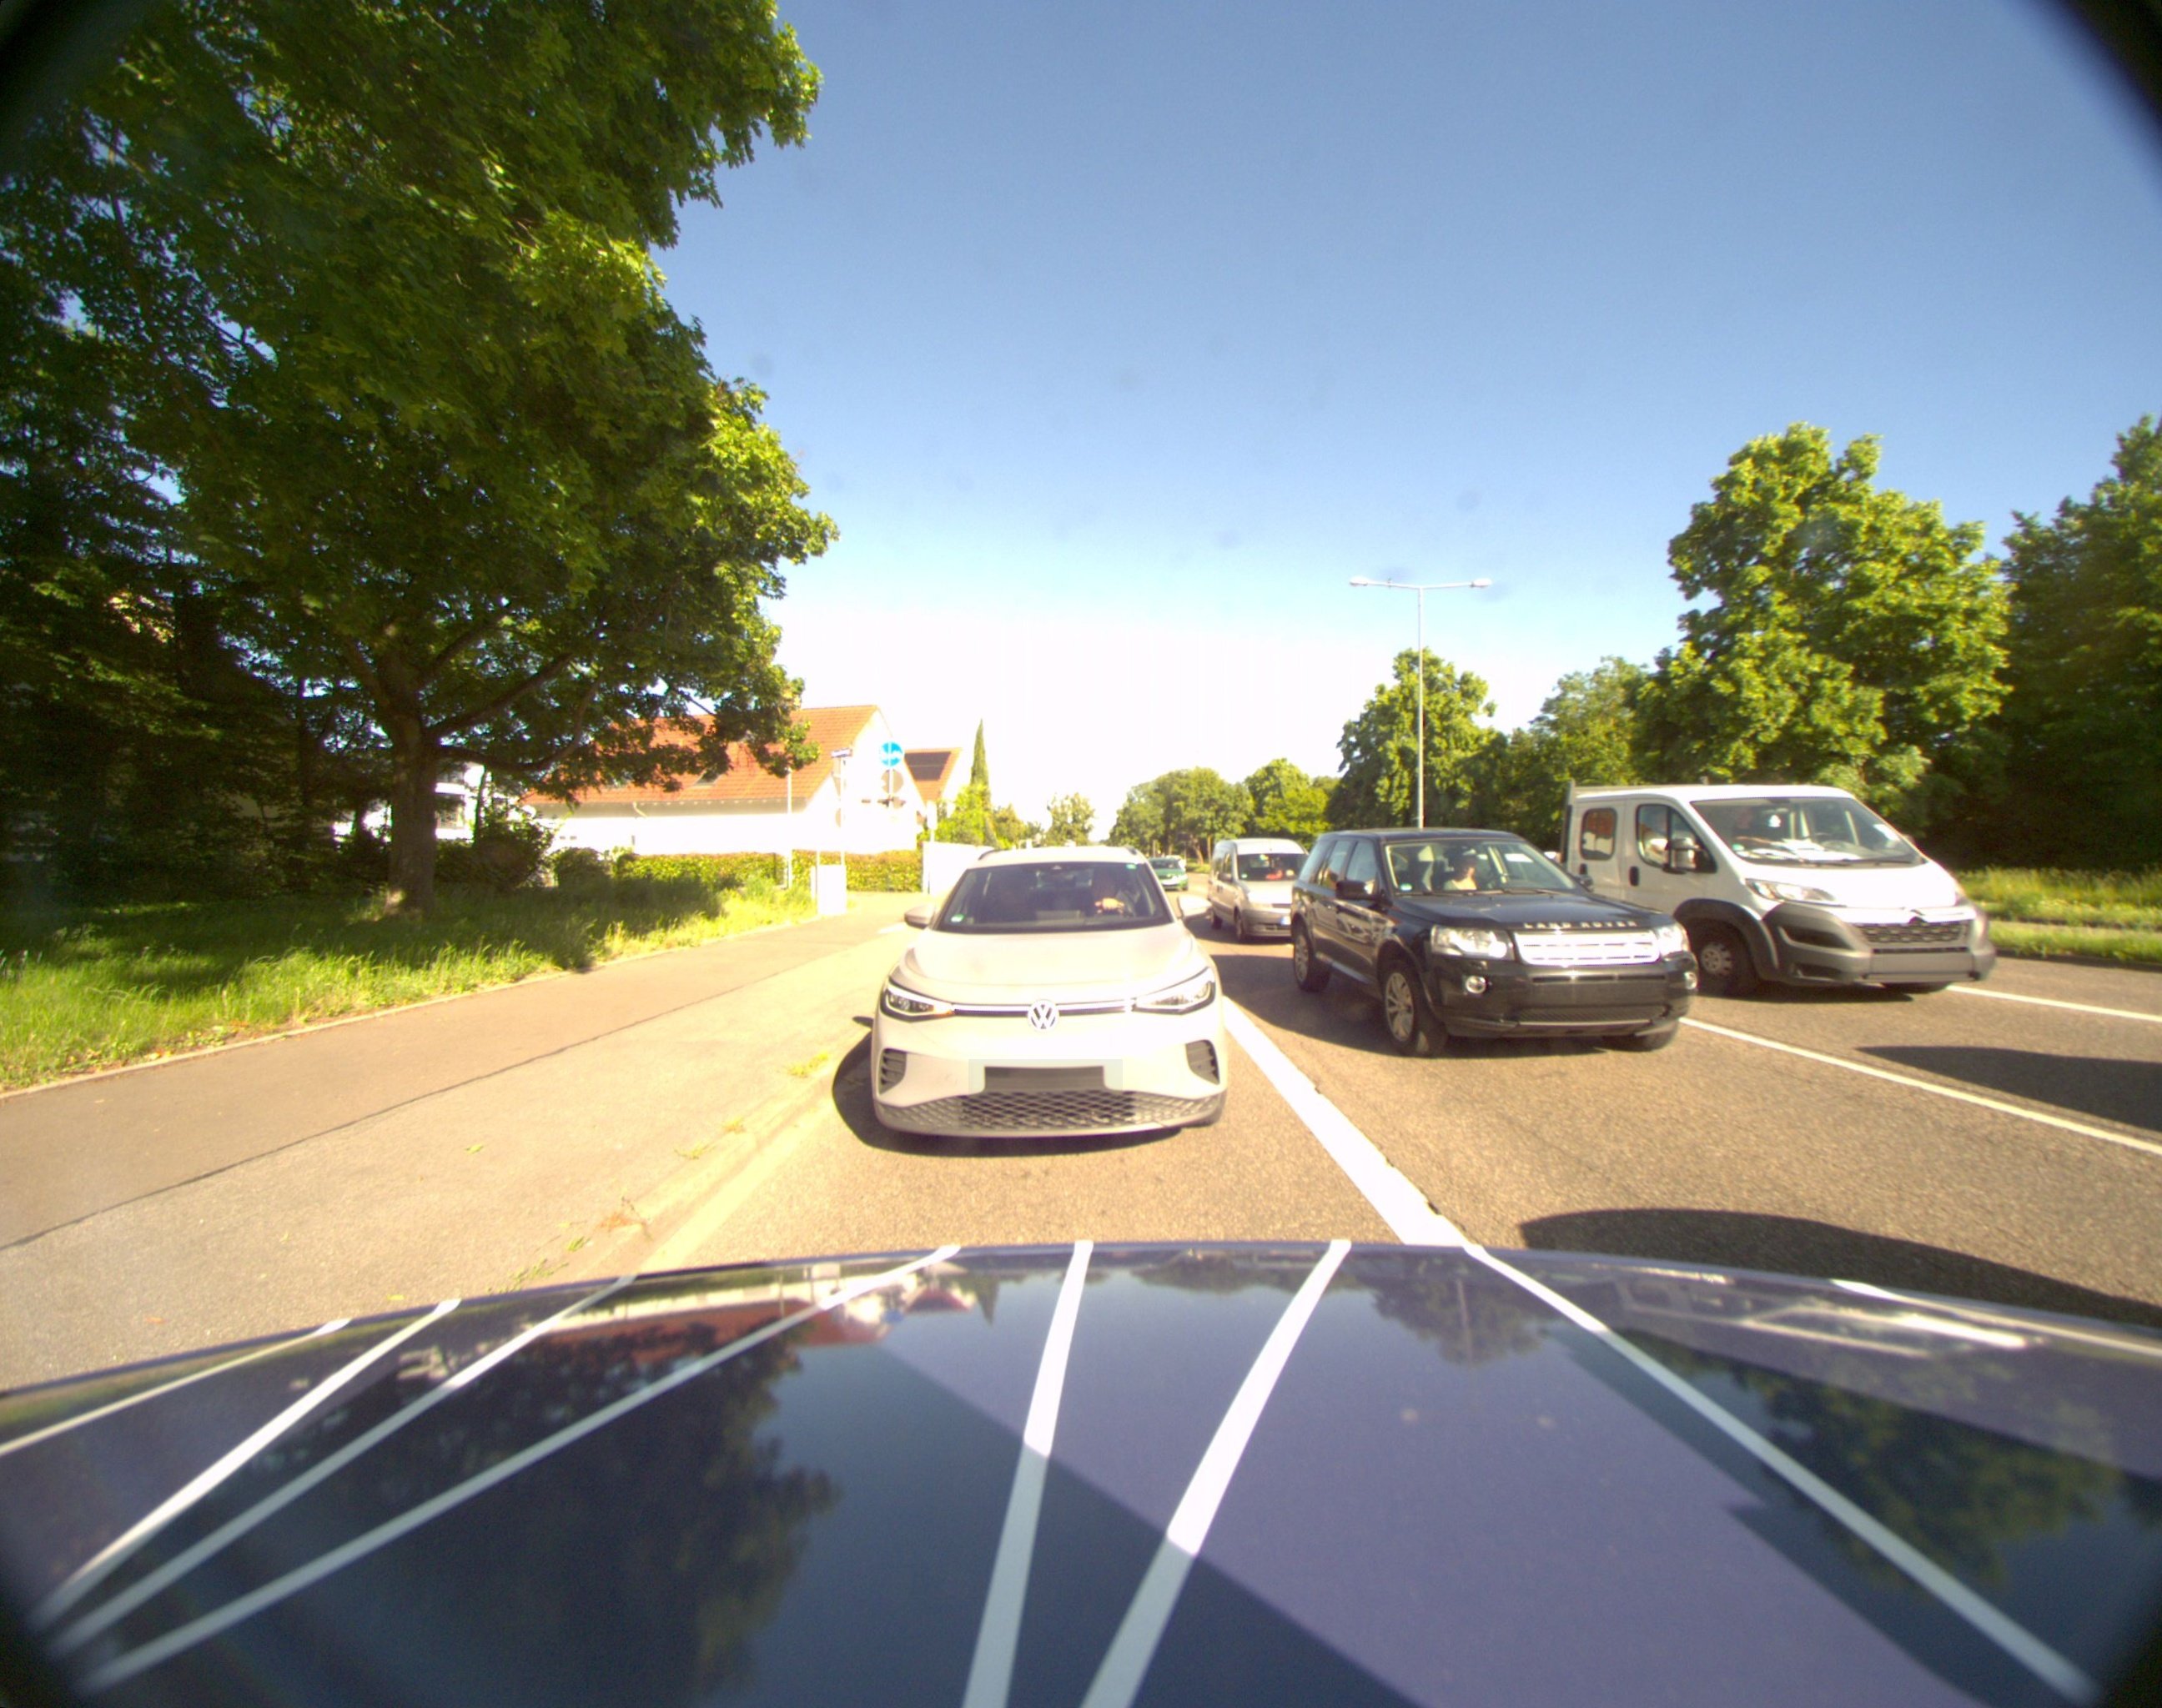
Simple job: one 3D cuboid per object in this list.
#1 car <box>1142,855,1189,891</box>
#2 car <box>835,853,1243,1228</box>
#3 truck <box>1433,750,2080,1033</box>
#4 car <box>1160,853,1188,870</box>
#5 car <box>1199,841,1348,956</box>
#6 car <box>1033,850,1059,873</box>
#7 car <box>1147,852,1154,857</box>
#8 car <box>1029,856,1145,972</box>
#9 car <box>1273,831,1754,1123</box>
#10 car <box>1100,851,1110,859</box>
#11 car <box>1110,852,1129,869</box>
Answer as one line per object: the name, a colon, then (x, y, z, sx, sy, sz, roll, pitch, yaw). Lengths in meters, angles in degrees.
car: (3.614, 0.788, 33.075, 1.630, 1.466, 3.931, -1, 0, 0)
car: (-0.166, 0.854, 5.580, 1.858, 1.679, 4.206, 0, 1, 1)
truck: (7.216, 0.276, 9.742, 2.185, 2.307, 6.842, -2, 1, 0)
car: (7.759, 0.617, 63.643, 1.727, 1.436, 3.999, 0, 0, -3)
car: (3.328, 0.660, 13.970, 1.632, 1.741, 4.386, -2, 1, 1)
car: (-2.468, 0.511, 54.614, 1.630, 1.523, 3.931, -1, 0, 0)
car: (22.310, 0.207, 243.881, 1.878, 1.674, 4.000, 0, 0, 1)
car: (0.113, 0.872, 13.024, 1.632, 1.586, 4.024, -2, 1, 1)
car: (3.169, 0.721, 6.775, 1.816, 1.721, 4.386, -2, 1, 1)
car: (4.467, 0.187, 140.913, 1.726, 1.630, 4.000, 0, 0, 1)
car: (3.732, 0.601, 75.004, 1.726, 1.630, 4.000, 0, 0, 1)
